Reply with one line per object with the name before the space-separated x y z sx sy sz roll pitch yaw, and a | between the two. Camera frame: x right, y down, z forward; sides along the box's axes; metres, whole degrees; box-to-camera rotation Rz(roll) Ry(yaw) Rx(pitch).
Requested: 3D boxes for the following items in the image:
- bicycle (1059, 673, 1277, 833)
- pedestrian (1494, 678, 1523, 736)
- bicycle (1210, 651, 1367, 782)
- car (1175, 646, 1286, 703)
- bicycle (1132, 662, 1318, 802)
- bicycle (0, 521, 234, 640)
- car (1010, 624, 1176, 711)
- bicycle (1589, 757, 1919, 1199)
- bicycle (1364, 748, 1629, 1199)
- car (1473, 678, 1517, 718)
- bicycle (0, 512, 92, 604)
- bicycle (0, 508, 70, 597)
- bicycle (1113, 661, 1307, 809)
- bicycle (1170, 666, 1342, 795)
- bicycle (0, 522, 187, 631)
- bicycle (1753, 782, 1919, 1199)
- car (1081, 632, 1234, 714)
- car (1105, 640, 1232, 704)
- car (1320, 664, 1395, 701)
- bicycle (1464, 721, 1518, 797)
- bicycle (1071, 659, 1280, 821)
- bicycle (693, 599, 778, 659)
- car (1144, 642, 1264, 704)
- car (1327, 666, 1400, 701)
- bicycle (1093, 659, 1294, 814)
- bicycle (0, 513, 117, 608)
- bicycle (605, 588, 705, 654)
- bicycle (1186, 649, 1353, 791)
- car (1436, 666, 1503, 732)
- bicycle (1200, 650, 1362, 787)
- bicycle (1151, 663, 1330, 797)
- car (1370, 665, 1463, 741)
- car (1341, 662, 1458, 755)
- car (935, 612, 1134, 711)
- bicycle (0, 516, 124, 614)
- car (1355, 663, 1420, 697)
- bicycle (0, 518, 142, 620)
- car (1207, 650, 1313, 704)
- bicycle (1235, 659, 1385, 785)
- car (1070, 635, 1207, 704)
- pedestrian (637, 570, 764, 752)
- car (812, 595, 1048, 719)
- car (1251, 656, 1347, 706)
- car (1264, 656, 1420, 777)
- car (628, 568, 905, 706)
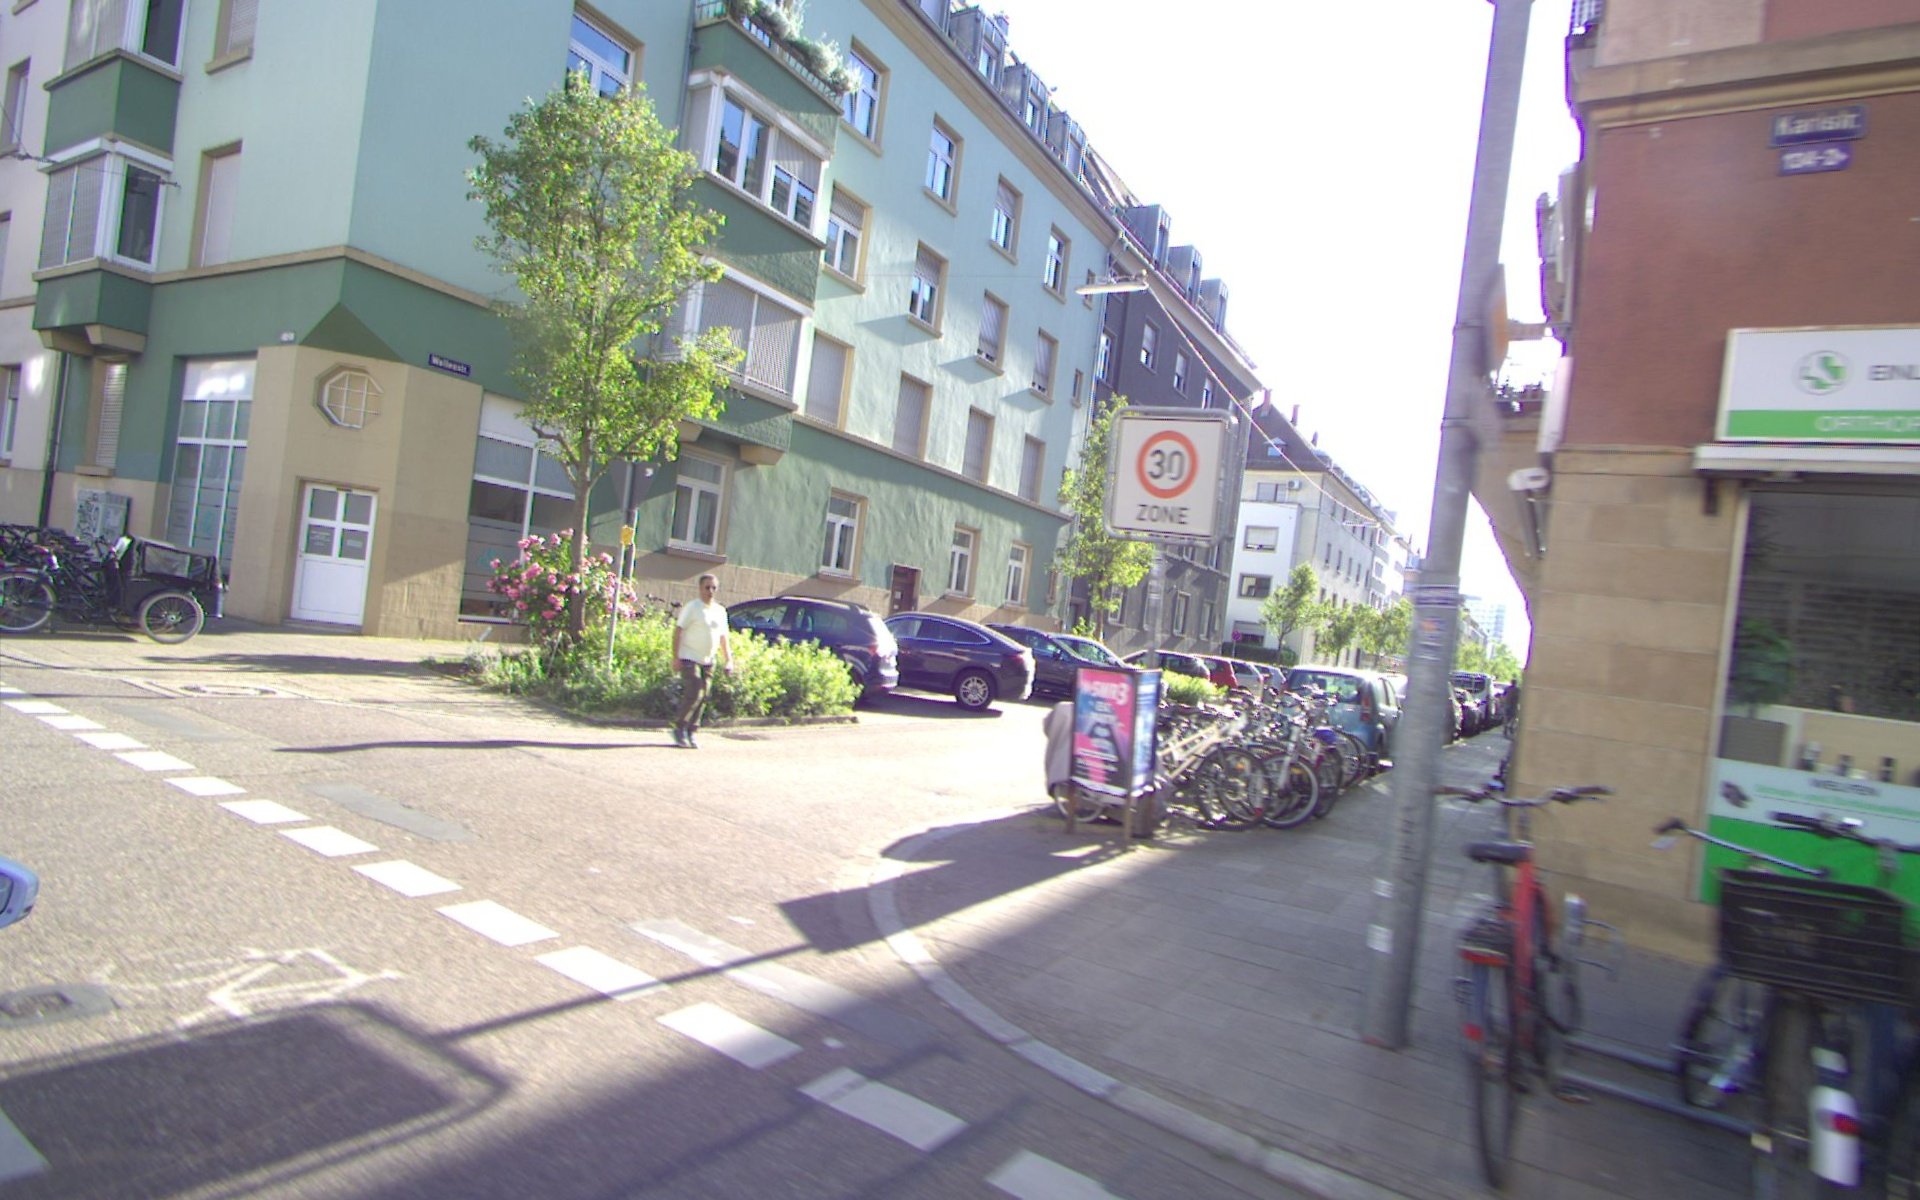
bicycle | 1.794 1.294 8.801 1.699 1.062 0.468 7 0 32
pedestrian | 18.151 3.517 33.275 0.598 1.819 0.730 8 1 31
bicycle | 4.267 1.486 13.128 1.699 1.399 0.627 7 0 32
car | 10.537 2.880 39.253 3.924 1.623 1.763 8 0 17
bicycle | 2.792 1.362 10.668 1.699 1.168 0.544 7 0 32
bicycle | -9.620 -0.190 11.365 0.834 1.170 2.087 8 2 32
car | 3.527 1.742 26.477 3.924 1.660 1.763 8 0 17
bicycle | 2.432 1.239 3.262 0.518 1.242 1.961 7 1 32
bicycle | 1.967 1.216 3.596 0.518 1.175 1.925 7 1 32
car | 29.494 5.380 55.431 1.783 1.848 3.993 7 -1 31
bicycle | -12.730 -0.576 13.369 0.461 1.170 1.722 8 3 32
bicycle | -13.280 -0.668 13.639 0.461 1.170 1.722 8 3 32
bicycle | 2.507 1.327 10.173 1.699 1.168 0.544 7 0 32
bicycle | 3.403 1.473 11.639 1.699 1.168 0.544 7 0 32
bicycle | -10.209 -0.245 11.710 0.461 1.170 1.842 8 3 32
bicycle | 2.906 1.296 2.985 0.518 1.242 1.961 7 1 32
car | 5.607 2.023 28.406 3.924 1.660 1.763 8 0 17
car | 7.086 2.399 34.128 3.924 1.560 1.763 8 0 17
car | 24.039 4.966 61.001 3.924 1.623 1.763 8 0 17
bicycle | 7.427 2.184 14.035 0.481 0.890 1.725 8 -1 31
bicycle | 1.967 1.247 9.296 1.699 1.168 0.468 7 0 32
bicycle | -4.575 0.619 20.643 0.448 1.076 1.899 8 -1 29
car | 8.802 2.596 36.272 3.924 1.623 1.763 8 0 17
car | 25.494 5.260 63.667 3.924 1.623 1.763 8 0 17
bicycle | 2.230 1.278 9.718 1.699 1.168 0.468 7 0 32
bicycle | -12.171 -0.520 13.115 0.461 1.170 1.722 8 3 32
bicycle | -5.669 0.419 18.791 0.448 1.076 1.899 8 -1 29
bicycle | 3.702 1.408 12.100 1.699 1.399 0.491 7 0 32
car | 19.368 3.739 38.147 1.783 2.145 3.993 8 -1 31
bicycle | 3.992 1.446 12.582 1.699 1.399 0.544 7 0 32
bicycle | 3.087 1.402 11.153 1.699 1.168 0.544 7 0 32
car | 12.304 2.730 26.995 1.667 1.651 3.993 7 -1 31
car | 9.555 2.296 21.691 1.667 1.570 4.063 7 -1 31
car | 1.826 1.432 24.091 4.367 1.660 1.844 8 0 13
bicycle | -11.684 -0.439 12.641 0.461 1.170 1.722 8 3 32
car | 31.191 5.832 73.468 3.924 1.869 1.763 8 0 11
bicycle | -11.224 -0.367 12.370 0.461 1.170 1.722 8 3 32
car | 12.379 3.170 41.655 3.924 1.623 1.763 8 0 17
bicycle | 4.728 1.621 13.645 1.699 1.399 0.544 7 0 32
car | 5.614 2.157 31.577 3.924 1.560 1.763 8 0 17
pedestrian | -2.529 0.606 9.832 0.691 1.651 0.731 6 -2 31
car | -0.504 1.032 18.762 3.924 1.660 1.763 8 0 11
car | 15.327 3.645 45.679 3.924 1.623 1.763 8 0 17
car | 6.230 1.822 16.198 1.613 1.514 3.498 7 -1 31
car | -3.075 0.584 16.440 4.001 1.599 1.642 8 0 4
